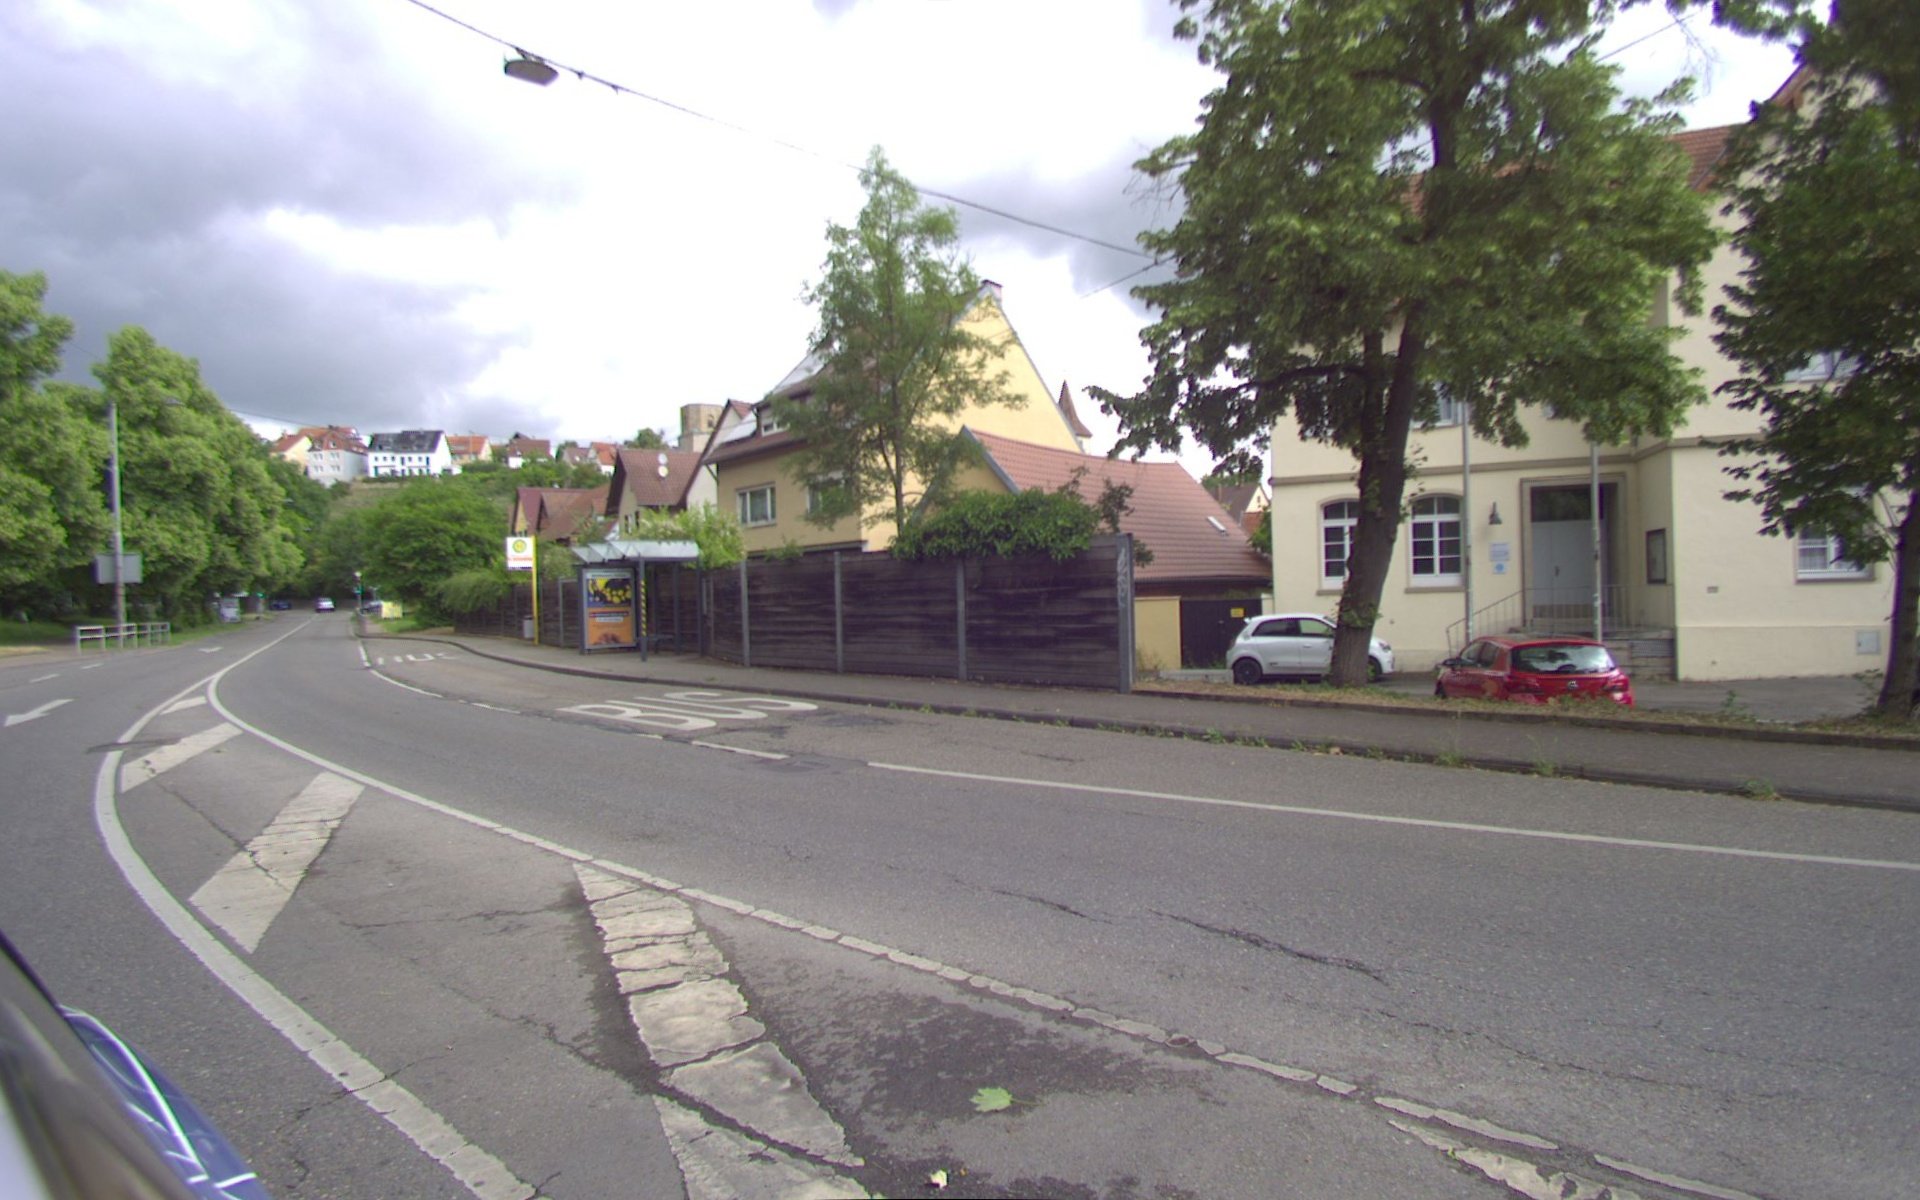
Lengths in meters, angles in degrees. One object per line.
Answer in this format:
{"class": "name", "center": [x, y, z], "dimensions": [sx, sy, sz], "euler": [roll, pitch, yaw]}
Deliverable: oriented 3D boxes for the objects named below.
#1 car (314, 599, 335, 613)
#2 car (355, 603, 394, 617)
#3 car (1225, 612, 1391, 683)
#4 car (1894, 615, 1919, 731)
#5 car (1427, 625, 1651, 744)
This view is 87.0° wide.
{"class": "car", "center": [-78.974, 0.747, 125.709], "dimensions": [1.967, 1.630, 4.009], "euler": [-1, 0, -36]}
{"class": "car", "center": [-67.680, 1.121, 117.005], "dimensions": [3.619, 1.596, 1.771], "euler": [-1, 0, -22]}
{"class": "car", "center": [7.807, 1.041, 22.823], "dimensions": [3.411, 1.490, 1.600], "euler": [-1, 0, 21]}
{"class": "car", "center": [12.735, 0.913, 11.248], "dimensions": [1.626, 1.450, 3.567], "euler": [-1, 0, 7]}
{"class": "car", "center": [8.242, 1.131, 14.789], "dimensions": [1.644, 1.393, 3.708], "euler": [-1, 0, 10]}
